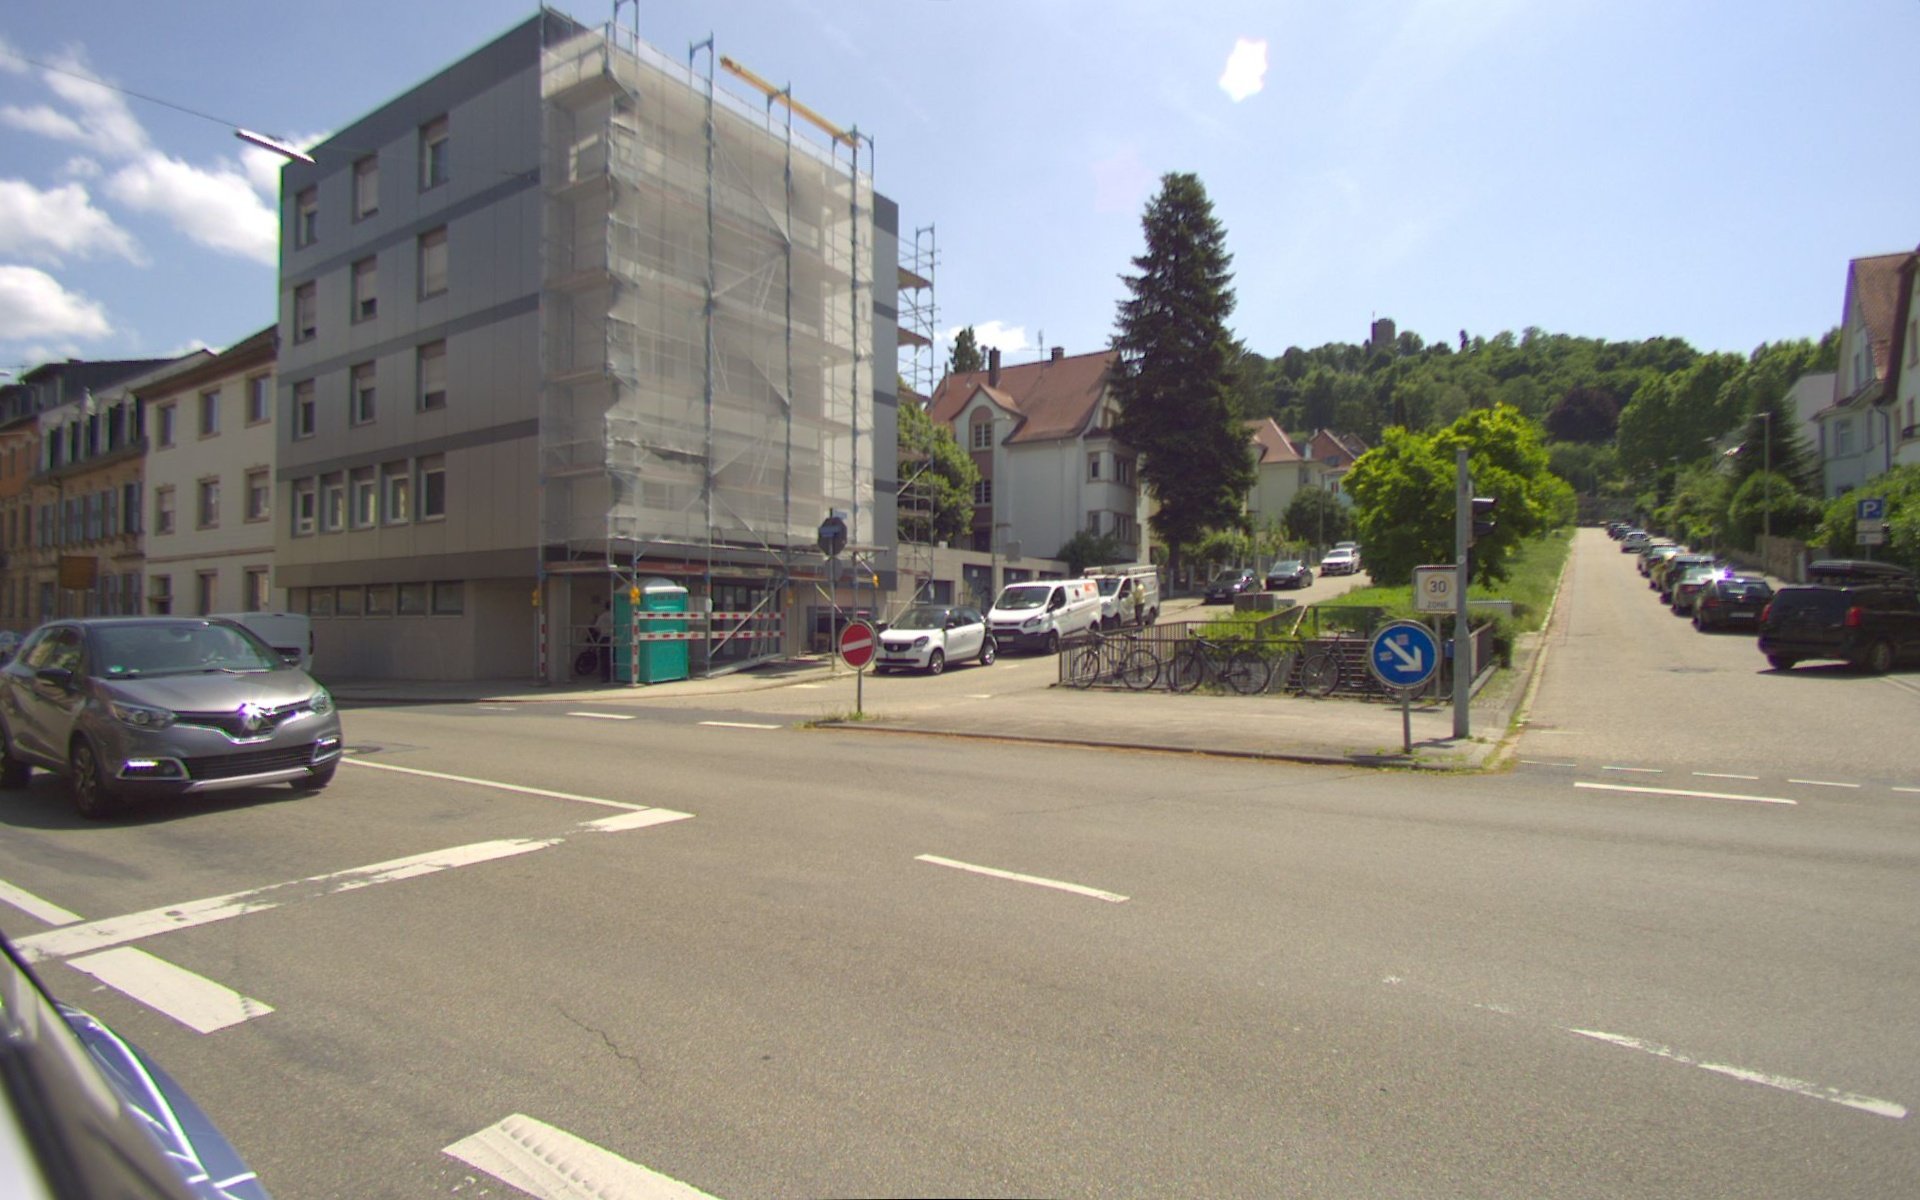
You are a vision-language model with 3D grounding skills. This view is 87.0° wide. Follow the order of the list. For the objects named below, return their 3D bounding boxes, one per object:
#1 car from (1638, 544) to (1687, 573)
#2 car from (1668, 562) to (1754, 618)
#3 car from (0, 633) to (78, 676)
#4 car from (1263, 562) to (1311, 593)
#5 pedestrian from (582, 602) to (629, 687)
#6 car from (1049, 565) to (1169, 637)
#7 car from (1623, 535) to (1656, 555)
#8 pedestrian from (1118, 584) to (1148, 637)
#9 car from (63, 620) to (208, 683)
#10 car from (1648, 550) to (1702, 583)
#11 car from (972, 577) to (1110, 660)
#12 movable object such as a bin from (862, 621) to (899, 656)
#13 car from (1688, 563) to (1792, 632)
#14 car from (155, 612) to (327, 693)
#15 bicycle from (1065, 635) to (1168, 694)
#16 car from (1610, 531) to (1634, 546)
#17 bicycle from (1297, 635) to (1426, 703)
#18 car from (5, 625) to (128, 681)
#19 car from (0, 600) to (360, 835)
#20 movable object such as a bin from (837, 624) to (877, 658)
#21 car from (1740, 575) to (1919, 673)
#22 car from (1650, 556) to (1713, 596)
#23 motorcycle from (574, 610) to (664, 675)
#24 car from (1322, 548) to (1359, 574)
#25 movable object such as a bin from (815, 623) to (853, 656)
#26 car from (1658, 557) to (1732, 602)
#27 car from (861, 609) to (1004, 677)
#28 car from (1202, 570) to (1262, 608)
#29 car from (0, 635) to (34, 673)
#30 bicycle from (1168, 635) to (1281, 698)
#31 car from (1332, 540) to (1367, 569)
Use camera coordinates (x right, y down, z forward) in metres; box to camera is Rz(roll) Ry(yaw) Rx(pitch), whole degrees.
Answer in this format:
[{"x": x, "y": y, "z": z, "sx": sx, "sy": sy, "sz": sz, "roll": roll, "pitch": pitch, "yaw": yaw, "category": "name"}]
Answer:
[{"x": 37.601, "y": -2.247, "z": 54.242, "sx": 1.852, "sy": 1.431, "sz": 3.958, "roll": -1, "pitch": 3, "yaw": 31, "category": "car"}, {"x": 23.922, "y": -0.352, "z": 32.355, "sx": 1.803, "sy": 1.562, "sz": 3.958, "roll": -1, "pitch": 3, "yaw": 31, "category": "car"}, {"x": -33.859, "y": 1.926, "z": 36.395, "sx": 4.822, "sy": 1.417, "sz": 1.850, "roll": -1, "pitch": -5, "yaw": 33, "category": "car"}, {"x": 17.331, "y": -1.214, "z": 53.570, "sx": 1.750, "sy": 1.458, "sz": 3.705, "roll": -2, "pitch": 3, "yaw": 28, "category": "car"}, {"x": -7.834, "y": 0.978, "z": 22.412, "sx": 0.699, "sy": 1.847, "sz": 0.789, "roll": -1, "pitch": -1, "yaw": 6, "category": "pedestrian"}, {"x": 5.244, "y": -0.018, "z": 35.007, "sx": 2.070, "sy": 2.193, "sz": 4.954, "roll": -1, "pitch": 2, "yaw": 35, "category": "car"}, {"x": 51.534, "y": -4.178, "z": 76.788, "sx": 1.852, "sy": 1.431, "sz": 3.958, "roll": -1, "pitch": 3, "yaw": 31, "category": "car"}, {"x": 5.752, "y": 0.352, "z": 33.704, "sx": 0.742, "sy": 1.727, "sz": 0.703, "roll": -1, "pitch": -1, "yaw": 37, "category": "pedestrian"}, {"x": -23.360, "y": 1.429, "z": 28.631, "sx": 4.650, "sy": 1.653, "sz": 1.869, "roll": -1, "pitch": -3, "yaw": 34, "category": "car"}, {"x": 34.682, "y": -1.639, "z": 49.169, "sx": 1.852, "sy": 1.431, "sz": 3.958, "roll": -1, "pitch": 3, "yaw": 31, "category": "car"}, {"x": 2.439, "y": 0.455, "z": 29.027, "sx": 1.992, "sy": 2.028, "sz": 4.963, "roll": -2, "pitch": 2, "yaw": 29, "category": "car"}, {"x": -2.207, "y": 1.066, "z": 28.103, "sx": 0.702, "sy": 0.933, "sz": 0.732, "roll": -2, "pitch": -1, "yaw": 36, "category": "movable object such as a bin"}, {"x": 21.418, "y": -0.109, "z": 27.922, "sx": 1.803, "sy": 1.628, "sz": 3.958, "roll": -1, "pitch": 3, "yaw": 31, "category": "car"}, {"x": -18.030, "y": 1.271, "z": 25.311, "sx": 4.775, "sy": 1.839, "sz": 1.898, "roll": -1, "pitch": -3, "yaw": 34, "category": "car"}, {"x": 2.685, "y": 1.100, "z": 17.448, "sx": 1.712, "sy": 0.974, "sz": 0.394, "roll": -1, "pitch": -1, "yaw": 31, "category": "bicycle"}, {"x": 66.672, "y": -6.233, "z": 102.036, "sx": 1.852, "sy": 1.431, "sz": 3.958, "roll": -1, "pitch": 3, "yaw": 31, "category": "car"}, {"x": 6.079, "y": 1.024, "z": 15.369, "sx": 1.777, "sy": 0.974, "sz": 0.394, "roll": -1, "pitch": -1, "yaw": 31, "category": "bicycle"}, {"x": -28.336, "y": 1.640, "z": 32.063, "sx": 4.807, "sy": 1.653, "sz": 1.868, "roll": -1, "pitch": -3, "yaw": 36, "category": "car"}, {"x": -7.190, "y": 0.869, "z": 9.011, "sx": 3.992, "sy": 1.644, "sz": 1.738, "roll": -2, "pitch": -1, "yaw": 36, "category": "car"}, {"x": -2.905, "y": 1.150, "z": 28.591, "sx": 0.824, "sy": 0.933, "sz": 0.732, "roll": -2, "pitch": -1, "yaw": 36, "category": "movable object such as a bin"}, {"x": 17.205, "y": 0.412, "z": 18.939, "sx": 4.255, "sy": 1.676, "sz": 2.006, "roll": 0, "pitch": -1, "yaw": -17, "category": "car"}, {"x": 29.626, "y": -1.026, "z": 41.643, "sx": 1.803, "sy": 1.431, "sz": 3.958, "roll": -1, "pitch": 3, "yaw": 31, "category": "car"}, {"x": -8.219, "y": 1.004, "z": 24.468, "sx": 2.008, "sy": 1.483, "sz": 0.884, "roll": -1, "pitch": -1, "yaw": -17, "category": "motorcycle"}, {"x": 24.392, "y": -2.527, "z": 64.834, "sx": 1.750, "sy": 1.458, "sz": 3.705, "roll": -2, "pitch": 3, "yaw": 28, "category": "car"}, {"x": -3.646, "y": 1.131, "z": 29.263, "sx": 0.824, "sy": 0.933, "sz": 0.732, "roll": -2, "pitch": -1, "yaw": 36, "category": "movable object such as a bin"}, {"x": 26.532, "y": -0.762, "z": 36.623, "sx": 1.803, "sy": 1.397, "sz": 3.958, "roll": -1, "pitch": 3, "yaw": 31, "category": "car"}, {"x": -0.590, "y": 0.992, "z": 24.541, "sx": 1.752, "sy": 1.458, "sz": 3.700, "roll": -2, "pitch": 0, "yaw": 31, "category": "car"}, {"x": 12.186, "y": -0.533, "z": 45.255, "sx": 1.750, "sy": 1.458, "sz": 3.705, "roll": -2, "pitch": 3, "yaw": 28, "category": "car"}, {"x": -38.228, "y": 2.054, "z": 39.545, "sx": 4.316, "sy": 1.417, "sz": 1.850, "roll": -1, "pitch": -5, "yaw": 32, "category": "car"}, {"x": 4.302, "y": 1.062, "z": 16.508, "sx": 1.740, "sy": 0.974, "sz": 0.394, "roll": -1, "pitch": -1, "yaw": 31, "category": "bicycle"}, {"x": 26.444, "y": -3.128, "z": 68.714, "sx": 1.750, "sy": 1.828, "sz": 3.705, "roll": -2, "pitch": 3, "yaw": 28, "category": "car"}]
